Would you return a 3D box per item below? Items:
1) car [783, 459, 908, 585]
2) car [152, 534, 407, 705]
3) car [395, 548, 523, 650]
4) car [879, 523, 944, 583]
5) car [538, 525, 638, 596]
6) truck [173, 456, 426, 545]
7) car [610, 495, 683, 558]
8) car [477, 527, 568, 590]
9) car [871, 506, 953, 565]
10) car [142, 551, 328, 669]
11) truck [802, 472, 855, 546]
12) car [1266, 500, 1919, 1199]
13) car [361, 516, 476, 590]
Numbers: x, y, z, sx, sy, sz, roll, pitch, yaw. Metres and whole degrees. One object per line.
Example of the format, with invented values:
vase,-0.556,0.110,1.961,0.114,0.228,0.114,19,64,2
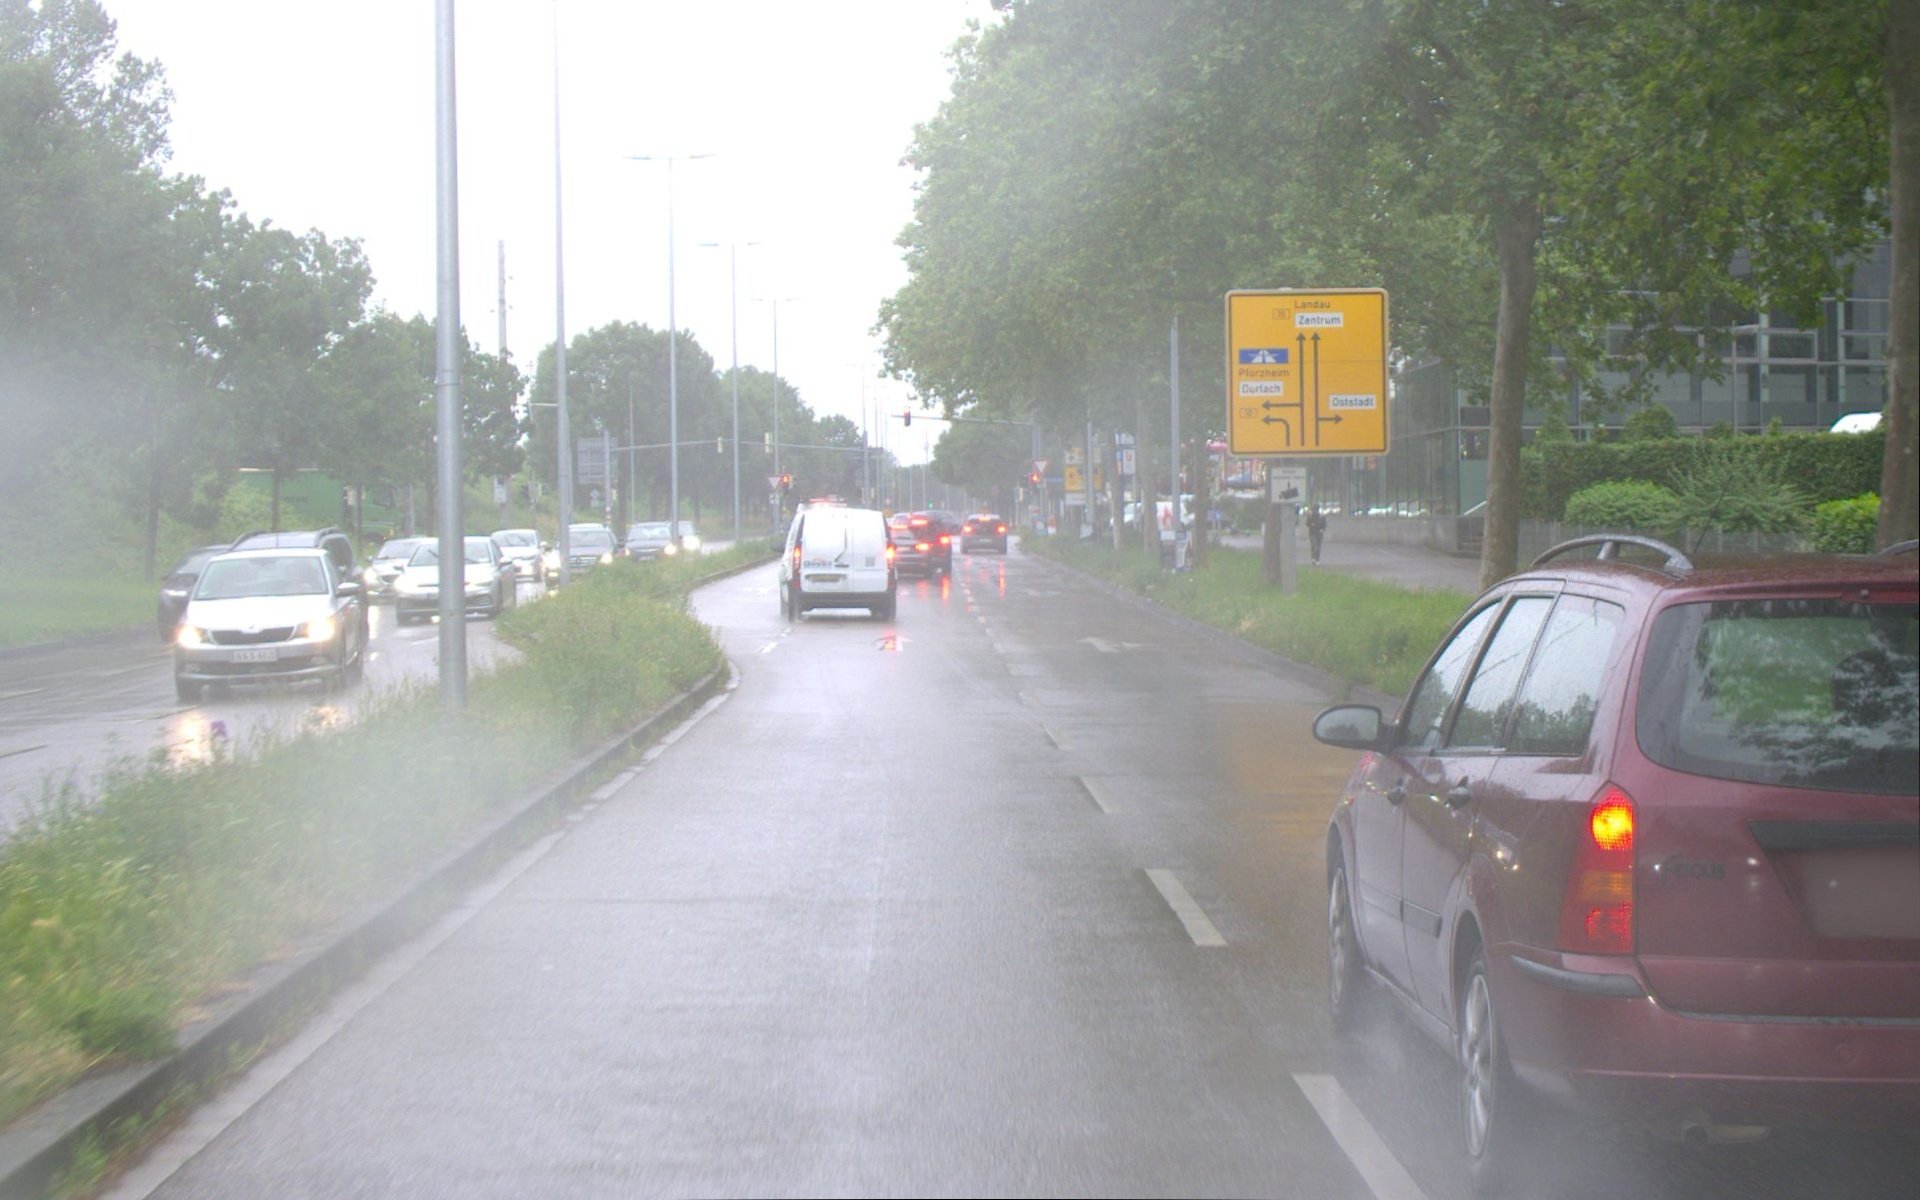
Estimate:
car,-1.907,-1.254,56.990,1.993,2.007,4.000,0,0,-2
car,-6.983,0.152,35.673,1.898,1.607,4.112,-2,1,-2
car,-8.673,-0.055,59.848,1.908,1.569,4.710,-3,2,-5
car,-1.350,-1.312,94.518,1.708,1.544,4.001,0,2,-2
car,-9.234,-1.015,85.667,1.908,1.569,4.709,-4,2,0
truck,-27.117,-4.028,141.541,10.110,3.440,2.658,0,0,-37
car,-9.611,-2.268,105.508,1.824,1.569,4.361,2,5,-1
car,-12.265,-1.189,96.640,1.908,1.569,4.709,-4,2,0
car,-1.249,-1.660,87.970,1.993,1.447,4.001,0,1,-2
car,-11.703,0.126,55.798,1.993,1.682,4.709,-2,2,0
truck,-4.456,-3.070,116.216,1.756,2.458,4.001,0,1,-2
car,1.958,0.530,8.907,1.839,1.531,4.112,0,1,-2
car,-11.986,-1.061,76.343,1.835,1.497,4.440,-2,2,0
